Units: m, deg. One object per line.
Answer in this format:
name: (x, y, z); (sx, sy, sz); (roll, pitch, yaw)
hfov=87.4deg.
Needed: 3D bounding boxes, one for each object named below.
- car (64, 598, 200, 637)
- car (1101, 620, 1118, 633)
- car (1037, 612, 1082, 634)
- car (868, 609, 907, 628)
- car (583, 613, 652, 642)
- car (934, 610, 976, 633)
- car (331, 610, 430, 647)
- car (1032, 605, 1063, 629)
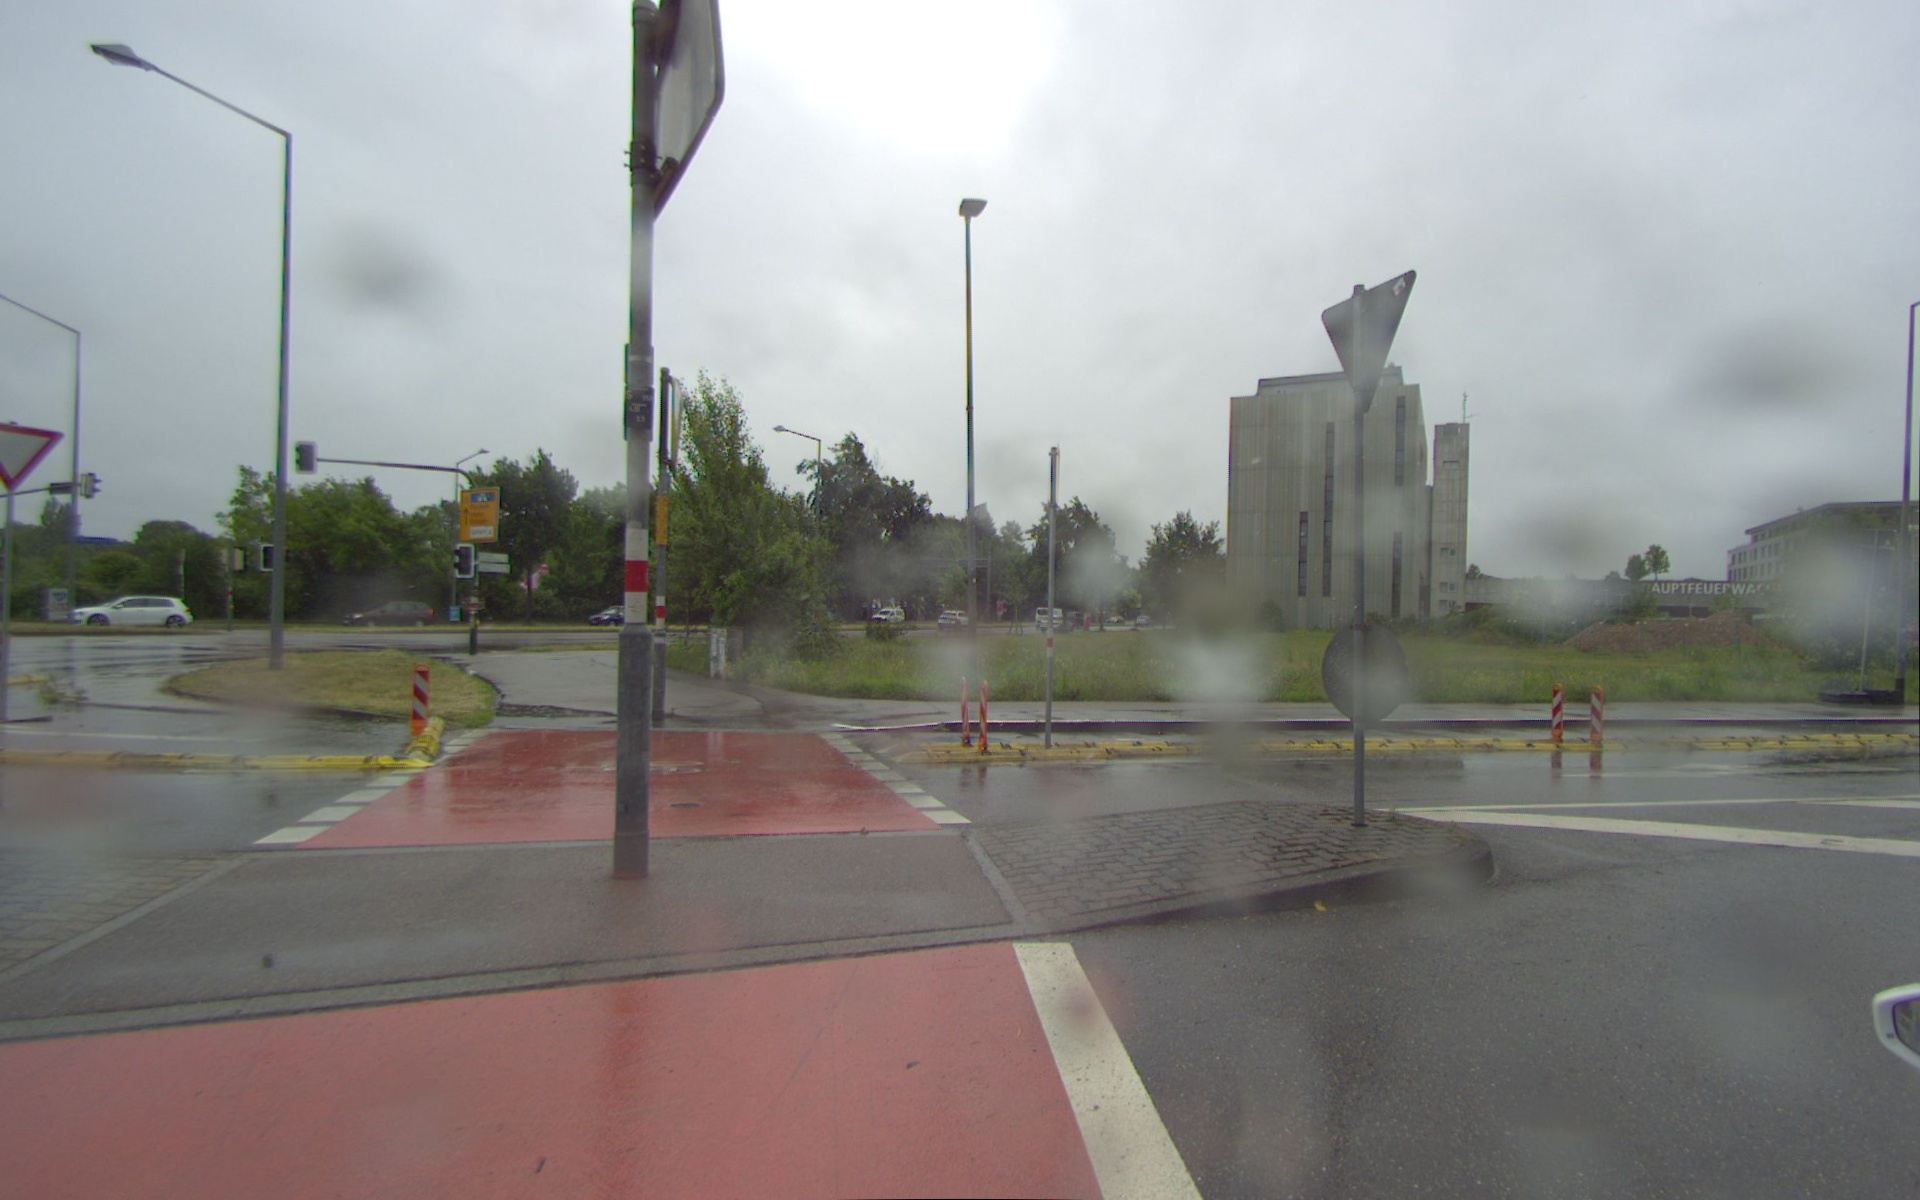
car: (-35.399, 0.784, 43.038); (1.607, 1.394, 4.233); (3, -2, 39)
car: (22.877, 4.041, 153.738); (1.754, 1.703, 4.002); (3, -1, 18)
car: (8.612, 2.000, 86.503); (1.759, 1.834, 4.824); (1, -1, 34)
car: (-7.084, 1.820, 98.576); (1.756, 1.669, 4.339); (3, -1, 26)
car: (-22.838, 1.839, 67.076); (1.760, 1.669, 3.987); (3, -2, 36)
car: (-0.385, 1.769, 81.581); (1.655, 1.669, 3.943); (3, -2, 28)
car: (-29.939, 1.502, 51.962); (1.760, 1.669, 3.987); (3, -2, 36)
car: (8.292, 1.609, 94.875); (1.754, 2.062, 4.001); (3, -1, 20)
